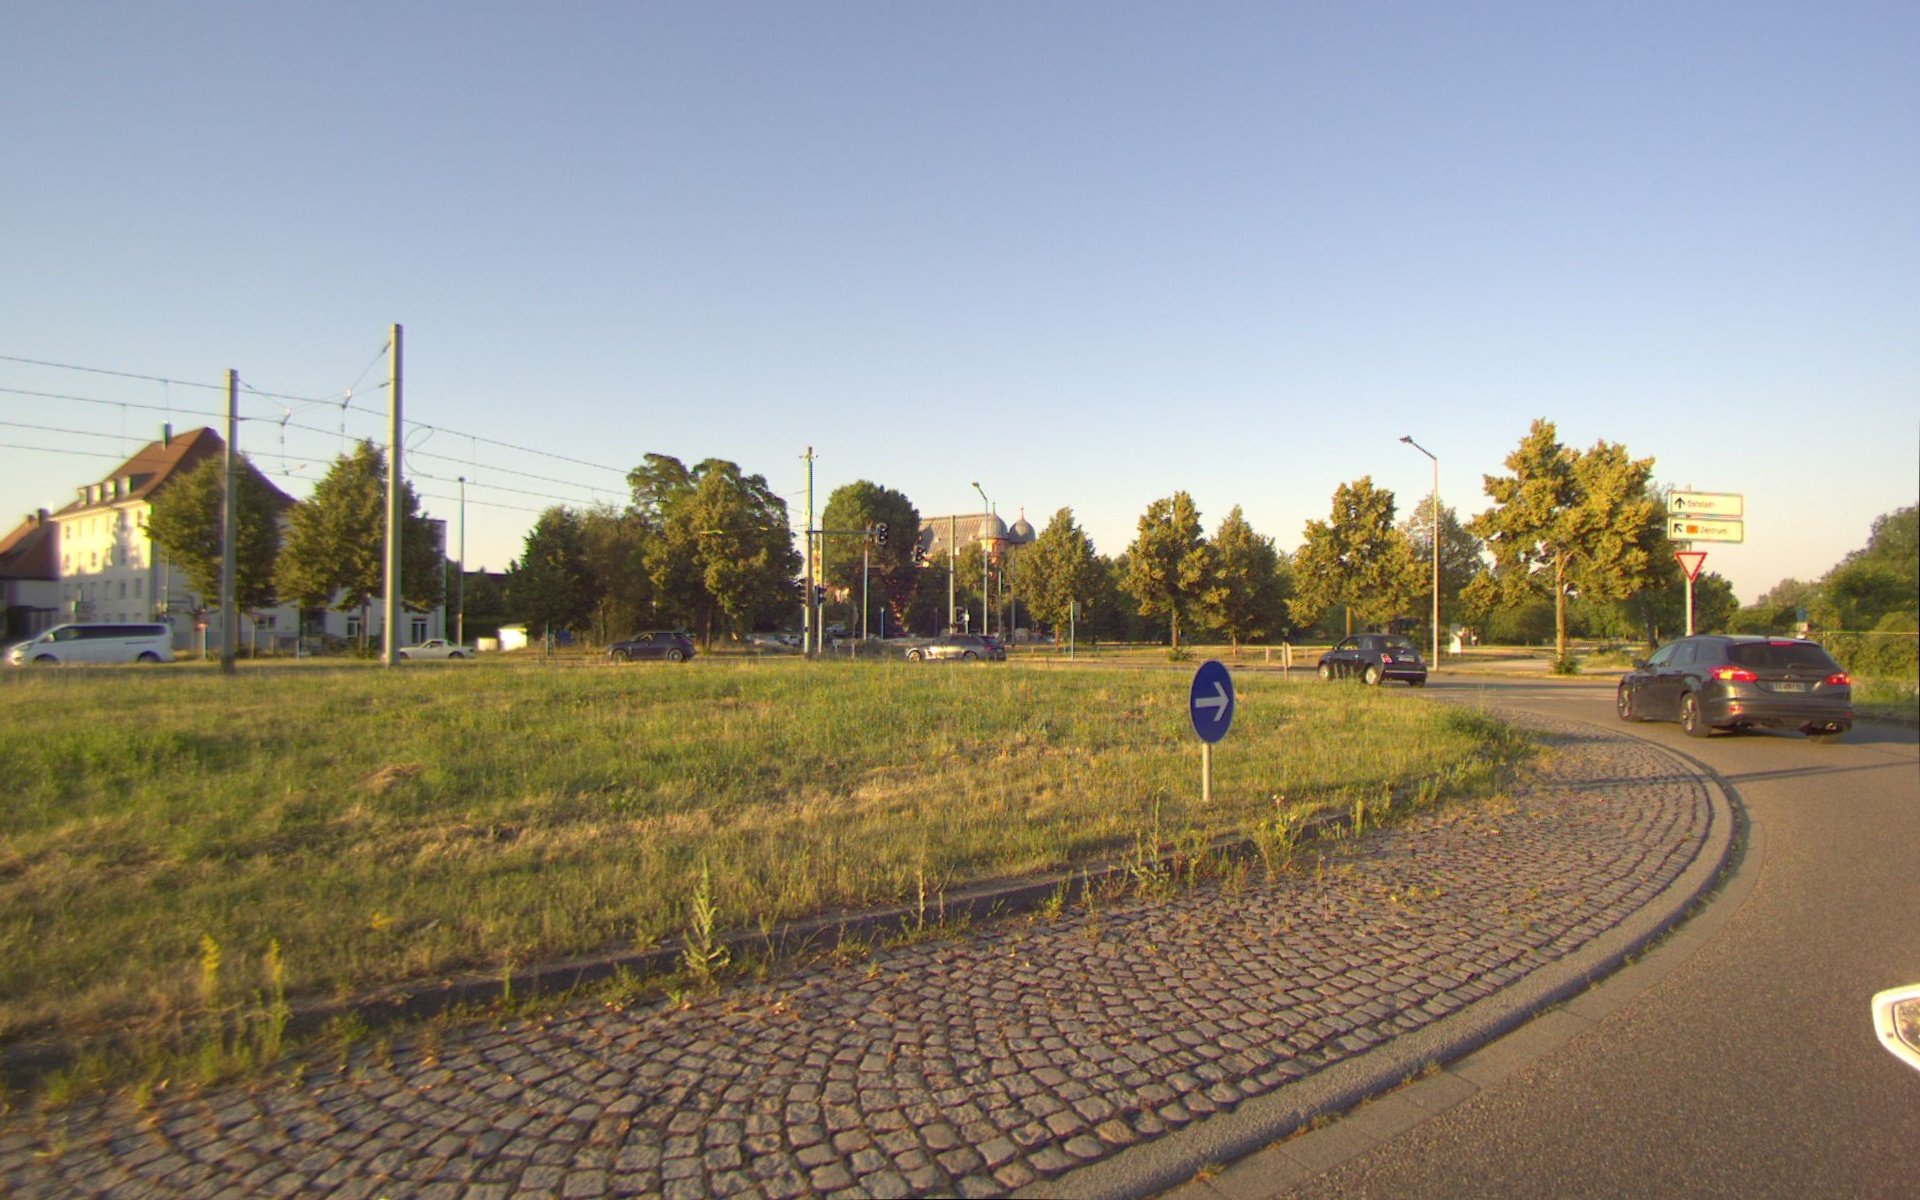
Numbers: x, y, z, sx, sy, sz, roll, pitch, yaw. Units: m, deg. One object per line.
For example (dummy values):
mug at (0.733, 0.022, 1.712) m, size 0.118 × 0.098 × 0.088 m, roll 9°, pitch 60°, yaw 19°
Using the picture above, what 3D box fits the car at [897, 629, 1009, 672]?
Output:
car at (-0.310, 2.152, 43.233) m, size 4.509 × 1.771 × 1.751 m, roll -1°, pitch -1°, yaw 23°

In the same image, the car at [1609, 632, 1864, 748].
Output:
car at (11.633, 1.246, 15.411) m, size 1.716 × 1.486 × 4.136 m, roll 0°, pitch -1°, yaw 17°

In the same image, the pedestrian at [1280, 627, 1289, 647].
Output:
pedestrian at (27.157, 3.070, 84.095) m, size 0.569 × 1.648 × 0.533 m, roll 0°, pitch -1°, yaw 7°

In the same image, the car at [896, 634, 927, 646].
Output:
car at (-6.781, 5.583, 140.100) m, size 3.932 × 1.571 × 1.995 m, roll -1°, pitch -2°, yaw 33°

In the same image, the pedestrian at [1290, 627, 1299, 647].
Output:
pedestrian at (27.708, 3.050, 83.274) m, size 0.608 × 1.648 × 0.531 m, roll 0°, pitch -1°, yaw 4°

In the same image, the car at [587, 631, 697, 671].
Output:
car at (-14.466, 2.299, 45.868) m, size 4.512 × 1.771 × 1.750 m, roll 0°, pitch -1°, yaw -7°

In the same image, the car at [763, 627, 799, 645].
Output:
car at (-21.136, 4.215, 118.770) m, size 3.933 × 2.126 × 1.994 m, roll -1°, pitch -2°, yaw 34°

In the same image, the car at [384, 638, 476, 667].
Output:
car at (-24.988, 2.444, 47.474) m, size 3.729 × 1.272 × 1.570 m, roll 1°, pitch 0°, yaw -25°

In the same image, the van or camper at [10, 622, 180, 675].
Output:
van or camper at (-36.404, 1.977, 42.408) m, size 1.888 × 2.037 × 5.272 m, roll -1°, pitch -1°, yaw 42°

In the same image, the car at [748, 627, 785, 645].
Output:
car at (-22.503, 4.182, 116.781) m, size 3.933 × 2.126 × 1.994 m, roll -1°, pitch -2°, yaw 34°

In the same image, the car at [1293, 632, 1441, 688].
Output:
car at (11.682, 1.677, 29.159) m, size 1.724 × 1.465 × 4.118 m, roll 0°, pitch -1°, yaw -19°
